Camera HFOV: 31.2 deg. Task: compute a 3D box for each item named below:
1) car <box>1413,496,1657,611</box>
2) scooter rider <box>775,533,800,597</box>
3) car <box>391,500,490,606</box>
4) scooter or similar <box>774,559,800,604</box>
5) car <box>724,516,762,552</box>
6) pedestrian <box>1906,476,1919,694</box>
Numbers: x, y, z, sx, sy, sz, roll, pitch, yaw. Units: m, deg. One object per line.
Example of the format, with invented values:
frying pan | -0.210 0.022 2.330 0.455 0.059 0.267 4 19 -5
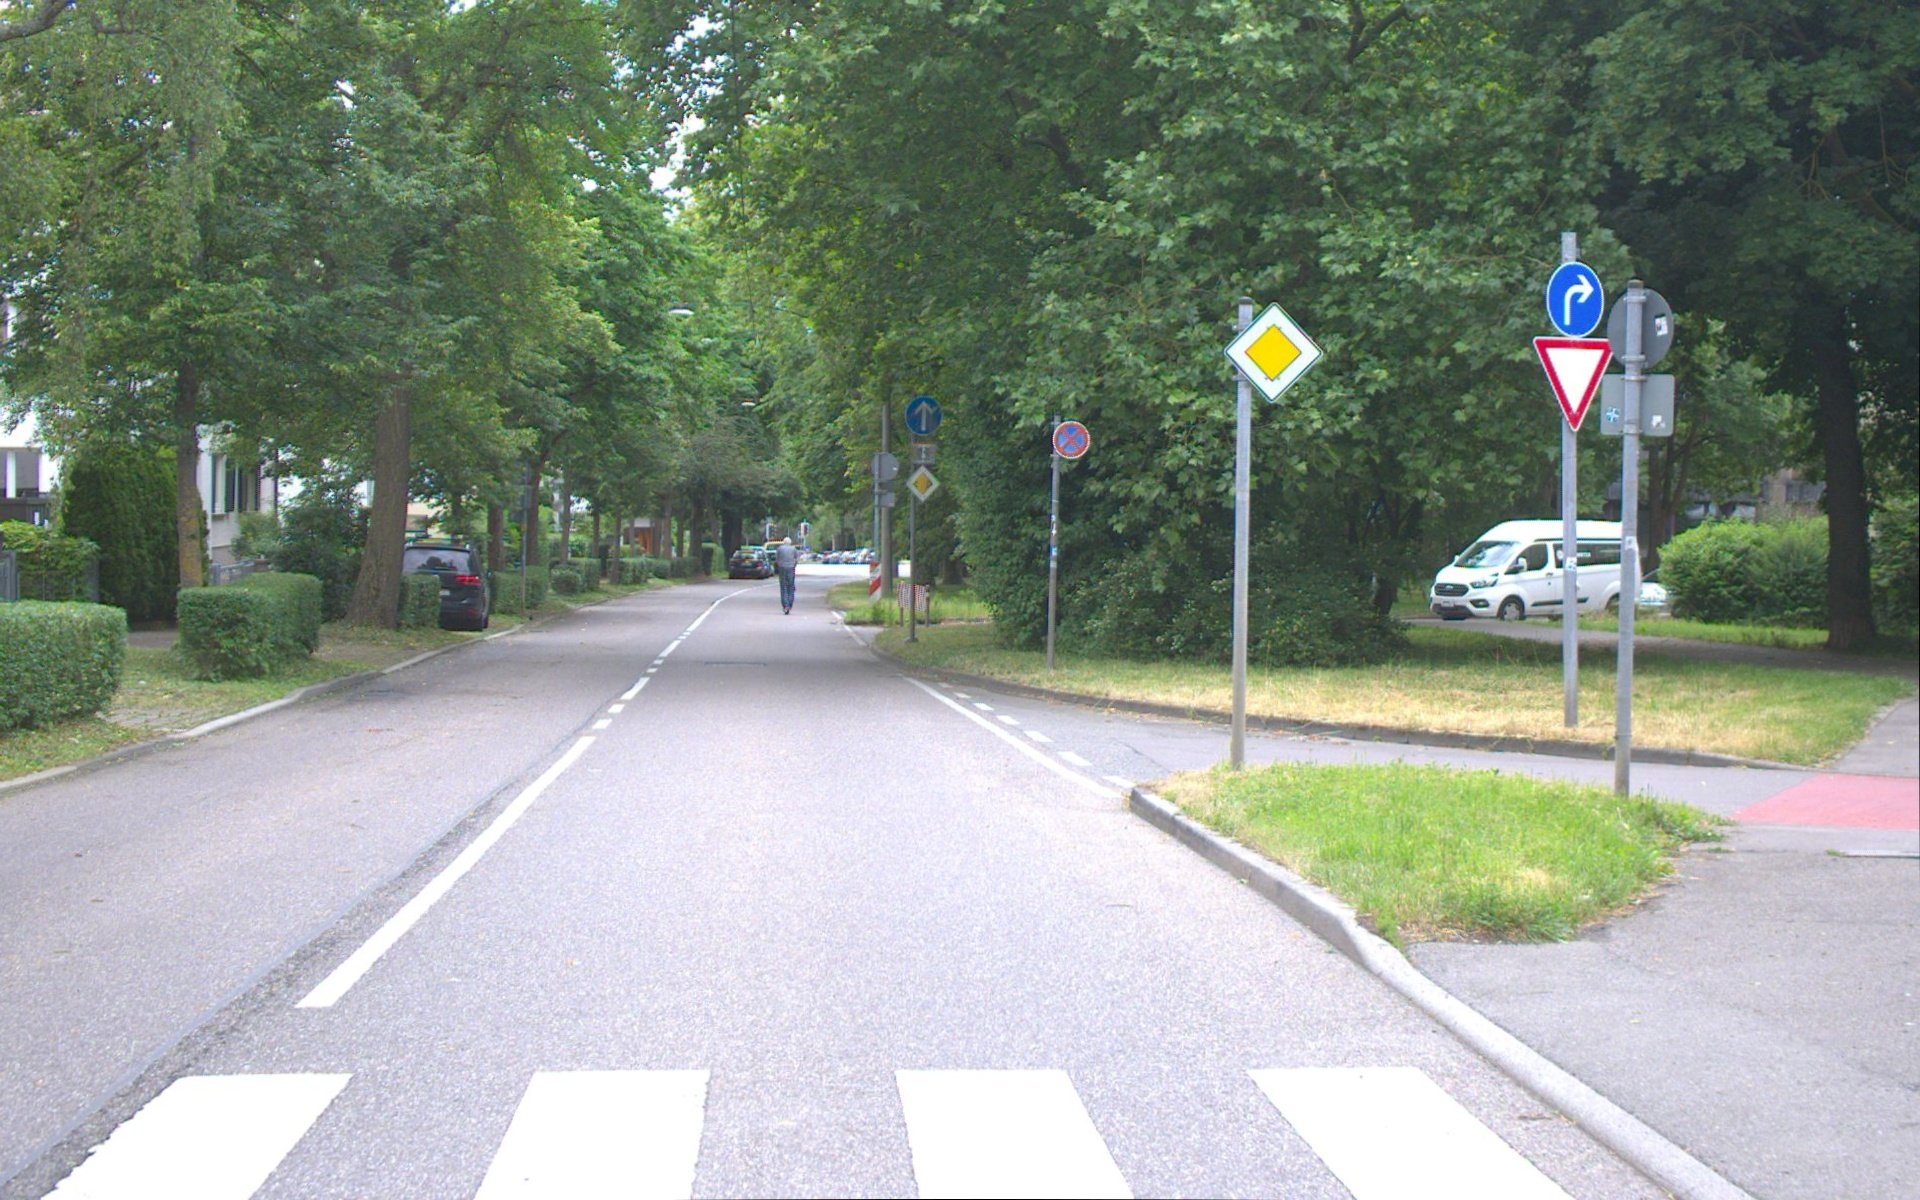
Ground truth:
car | 12.871 -1.023 76.801 5.369 2.289 2.137 1 4 -38
scooter rider | -4.233 -0.870 84.431 0.600 1.547 0.566 0 3 0
car | -9.818 -0.920 65.138 1.642 1.718 3.801 3 3 -7
scooter or similar | -4.230 -0.453 84.298 0.600 1.051 0.873 0 3 0
car | -10.897 -3.326 172.726 1.834 1.493 3.657 4 4 -4
pedestrian | 8.809 -0.140 29.988 0.924 1.865 1.019 -2 4 10
